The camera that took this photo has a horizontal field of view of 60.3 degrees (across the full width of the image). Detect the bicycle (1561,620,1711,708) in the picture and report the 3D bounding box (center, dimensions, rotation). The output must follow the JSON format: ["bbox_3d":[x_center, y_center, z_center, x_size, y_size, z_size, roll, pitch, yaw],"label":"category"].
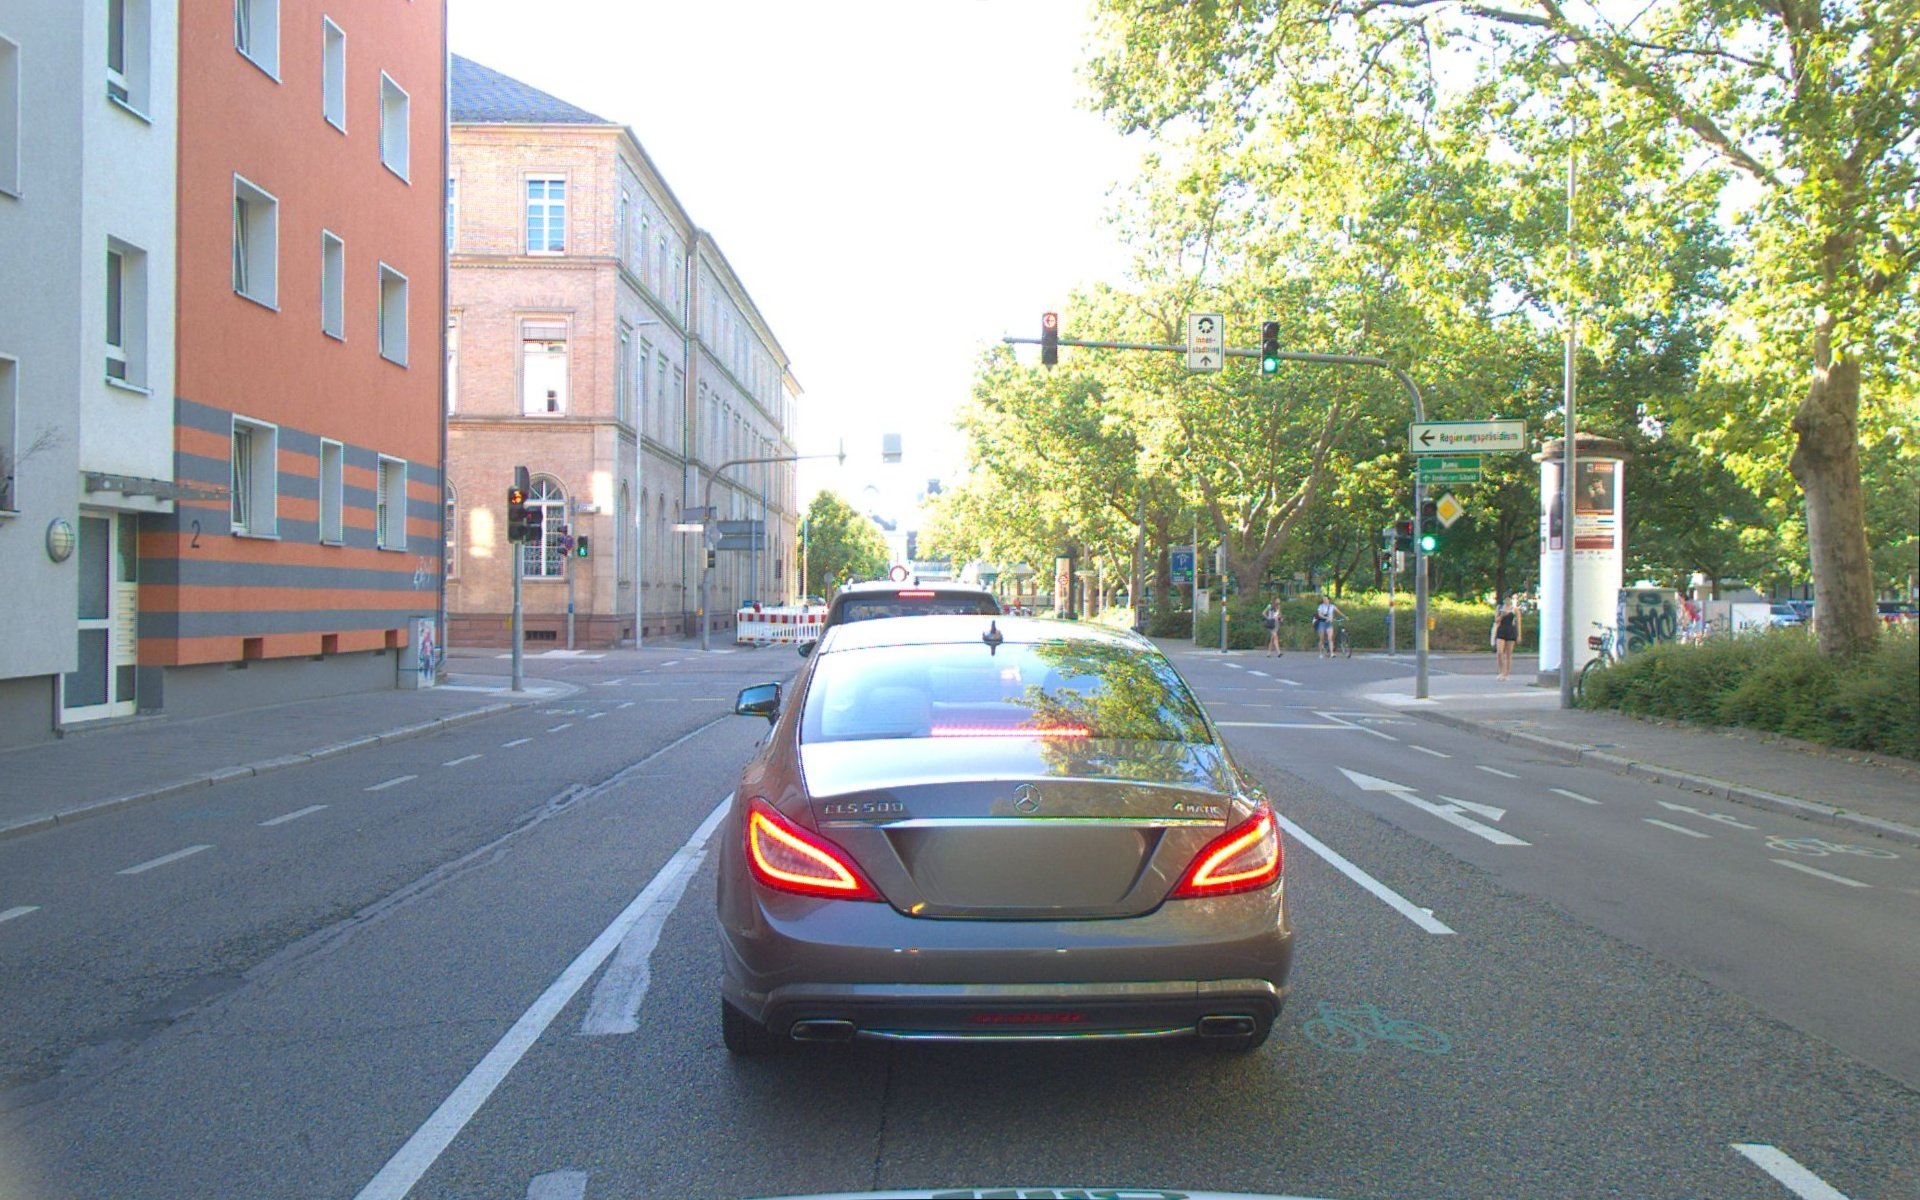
[{"bbox_3d":[9.698,0.911,23.750,1.936,1.210,0.528,1,-1,-2],"label":"bicycle"}]

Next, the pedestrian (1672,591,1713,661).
[{"bbox_3d":[19.765,0.701,44.631,0.765,1.867,0.685,1,-1,-8],"label":"pedestrian"}]

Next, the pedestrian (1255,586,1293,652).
[{"bbox_3d":[8.811,0.536,46.397,0.720,1.840,0.905,0,-1,-15],"label":"pedestrian"}]

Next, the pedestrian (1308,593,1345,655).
[{"bbox_3d":[10.302,0.676,46.477,0.671,1.727,0.968,1,0,-11],"label":"pedestrian"}]

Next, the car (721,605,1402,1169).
[{"bbox_3d":[0.062,0.763,6.627,1.807,1.454,4.511,1,0,-6],"label":"car"}]

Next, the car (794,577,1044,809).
[{"bbox_3d":[-0.264,0.670,13.710,1.772,1.641,4.000,0,0,1],"label":"car"}]

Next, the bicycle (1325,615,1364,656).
[{"bbox_3d":[10.749,0.976,46.282,0.514,1.119,1.739,1,0,-7],"label":"bicycle"}]

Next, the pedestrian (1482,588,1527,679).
[{"bbox_3d":[10.160,0.611,30.873,0.781,1.659,0.908,1,-1,18],"label":"pedestrian"}]

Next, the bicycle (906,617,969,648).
[{"bbox_3d":[-0.666,0.981,50.080,1.836,0.906,0.546,1,-1,-23],"label":"bicycle"}]

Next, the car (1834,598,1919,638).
[{"bbox_3d":[36.267,0.687,65.139,1.596,1.508,3.794,1,0,-2],"label":"car"}]

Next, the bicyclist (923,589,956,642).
[{"bbox_3d":[-0.631,0.456,50.116,0.793,1.586,0.646,1,-1,-22],"label":"bicyclist"}]
